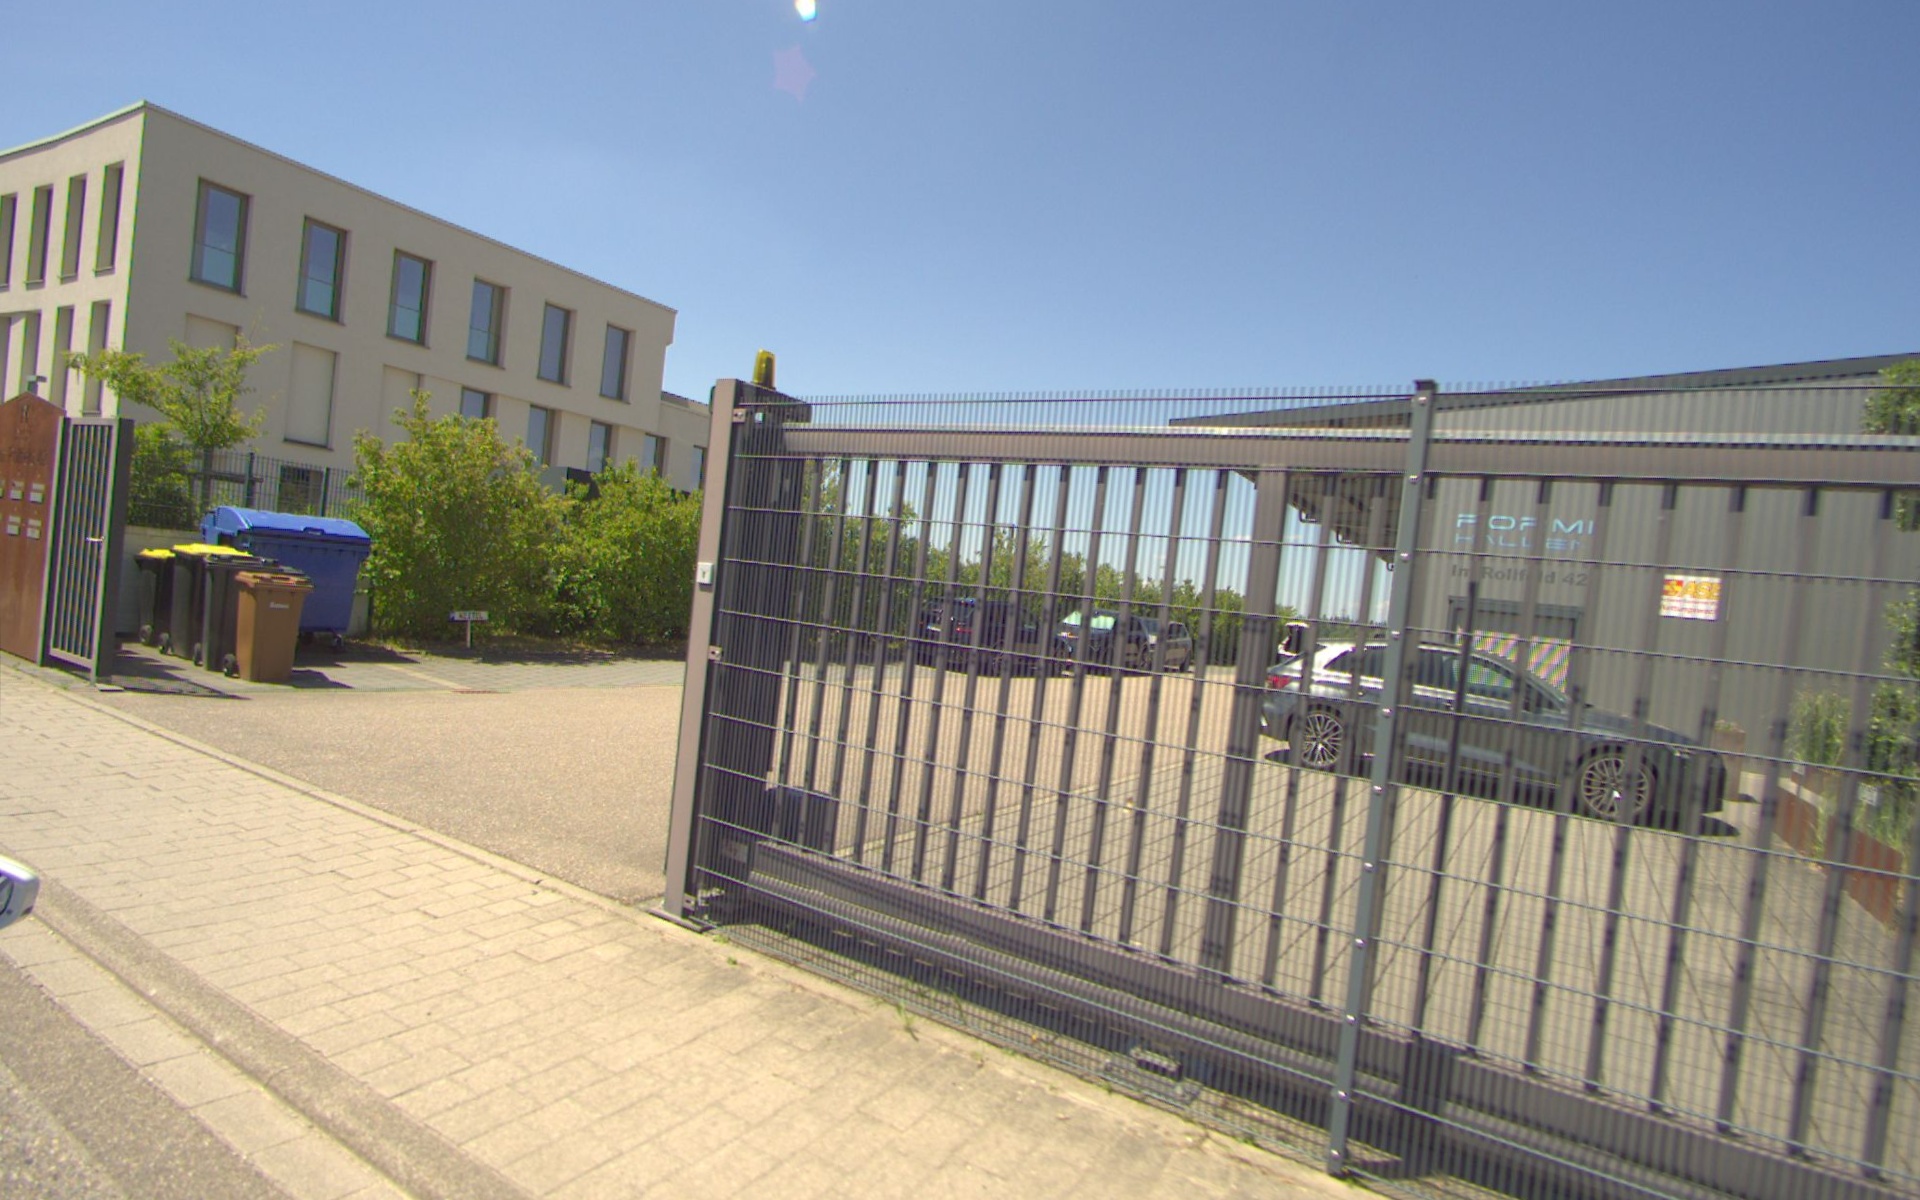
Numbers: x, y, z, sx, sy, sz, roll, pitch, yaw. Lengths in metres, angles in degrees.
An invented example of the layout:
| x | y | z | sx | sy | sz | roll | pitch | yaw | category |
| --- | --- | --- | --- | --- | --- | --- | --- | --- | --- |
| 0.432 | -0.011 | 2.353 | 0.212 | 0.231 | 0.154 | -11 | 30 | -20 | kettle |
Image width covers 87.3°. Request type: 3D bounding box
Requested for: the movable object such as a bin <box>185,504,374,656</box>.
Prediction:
| x | y | z | sx | sy | sz | roll | pitch | yaw | category |
| --- | --- | --- | --- | --- | --- | --- | --- | --- | --- |
| -7.306 | -0.189 | 10.838 | 0.933 | 1.478 | 1.335 | 7 | 1 | 31 | movable object such as a bin |

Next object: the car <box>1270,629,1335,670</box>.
| x | y | z | sx | sy | sz | roll | pitch | yaw | category |
| --- | --- | --- | --- | --- | --- | --- | --- | --- | --- |
| 15.786 | 2.307 | 46.259 | 1.763 | 1.540 | 3.990 | 8 | 0 | 33 | car |

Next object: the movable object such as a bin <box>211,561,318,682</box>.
| x | y | z | sx | sy | sz | roll | pitch | yaw | category |
| --- | --- | --- | --- | --- | --- | --- | --- | --- | --- |
| -6.226 | 0.193 | 9.009 | 0.571 | 1.007 | 0.543 | 7 | 2 | 31 | movable object such as a bin |

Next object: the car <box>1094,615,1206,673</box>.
| x | y | z | sx | sy | sz | roll | pitch | yaw | category |
| --- | --- | --- | --- | --- | --- | --- | --- | --- | --- |
| 5.706 | 1.339 | 29.888 | 1.763 | 1.372 | 3.990 | 8 | 0 | 33 | car |

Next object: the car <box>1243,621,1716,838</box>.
| x | y | z | sx | sy | sz | roll | pitch | yaw | category |
| --- | --- | --- | --- | --- | --- | --- | --- | --- | --- |
| 5.191 | 1.184 | 10.413 | 3.934 | 1.462 | 1.656 | 6 | 1 | 32 | car |

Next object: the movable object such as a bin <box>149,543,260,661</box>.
| x | y | z | sx | sy | sz | roll | pitch | yaw | category |
| --- | --- | --- | --- | --- | --- | --- | --- | --- | --- |
| -7.240 | 0.027 | 9.640 | 0.640 | 1.049 | 0.604 | 7 | 2 | 32 | movable object such as a bin |

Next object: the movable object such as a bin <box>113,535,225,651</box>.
| x | y | z | sx | sy | sz | roll | pitch | yaw | category |
| --- | --- | --- | --- | --- | --- | --- | --- | --- | --- |
| -7.910 | -0.066 | 10.058 | 0.898 | 1.049 | 0.543 | 7 | 2 | 32 | movable object such as a bin |

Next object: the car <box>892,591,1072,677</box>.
| x | y | z | sx | sy | sz | roll | pitch | yaw | category |
| --- | --- | --- | --- | --- | --- | --- | --- | --- | --- |
| 0.553 | 0.753 | 20.670 | 1.763 | 1.372 | 3.990 | 8 | 0 | 33 | car |

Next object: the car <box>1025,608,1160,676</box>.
| x | y | z | sx | sy | sz | roll | pitch | yaw | category |
| --- | --- | --- | --- | --- | --- | --- | --- | --- | --- |
| 3.444 | 1.106 | 25.540 | 1.763 | 1.372 | 3.990 | 8 | 0 | 33 | car |

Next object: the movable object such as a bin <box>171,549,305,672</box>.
| x | y | z | sx | sy | sz | roll | pitch | yaw | category |
| --- | --- | --- | --- | --- | --- | --- | --- | --- | --- |
| -6.692 | 0.106 | 9.345 | 0.571 | 1.049 | 0.793 | 7 | 1 | 31 | movable object such as a bin |
